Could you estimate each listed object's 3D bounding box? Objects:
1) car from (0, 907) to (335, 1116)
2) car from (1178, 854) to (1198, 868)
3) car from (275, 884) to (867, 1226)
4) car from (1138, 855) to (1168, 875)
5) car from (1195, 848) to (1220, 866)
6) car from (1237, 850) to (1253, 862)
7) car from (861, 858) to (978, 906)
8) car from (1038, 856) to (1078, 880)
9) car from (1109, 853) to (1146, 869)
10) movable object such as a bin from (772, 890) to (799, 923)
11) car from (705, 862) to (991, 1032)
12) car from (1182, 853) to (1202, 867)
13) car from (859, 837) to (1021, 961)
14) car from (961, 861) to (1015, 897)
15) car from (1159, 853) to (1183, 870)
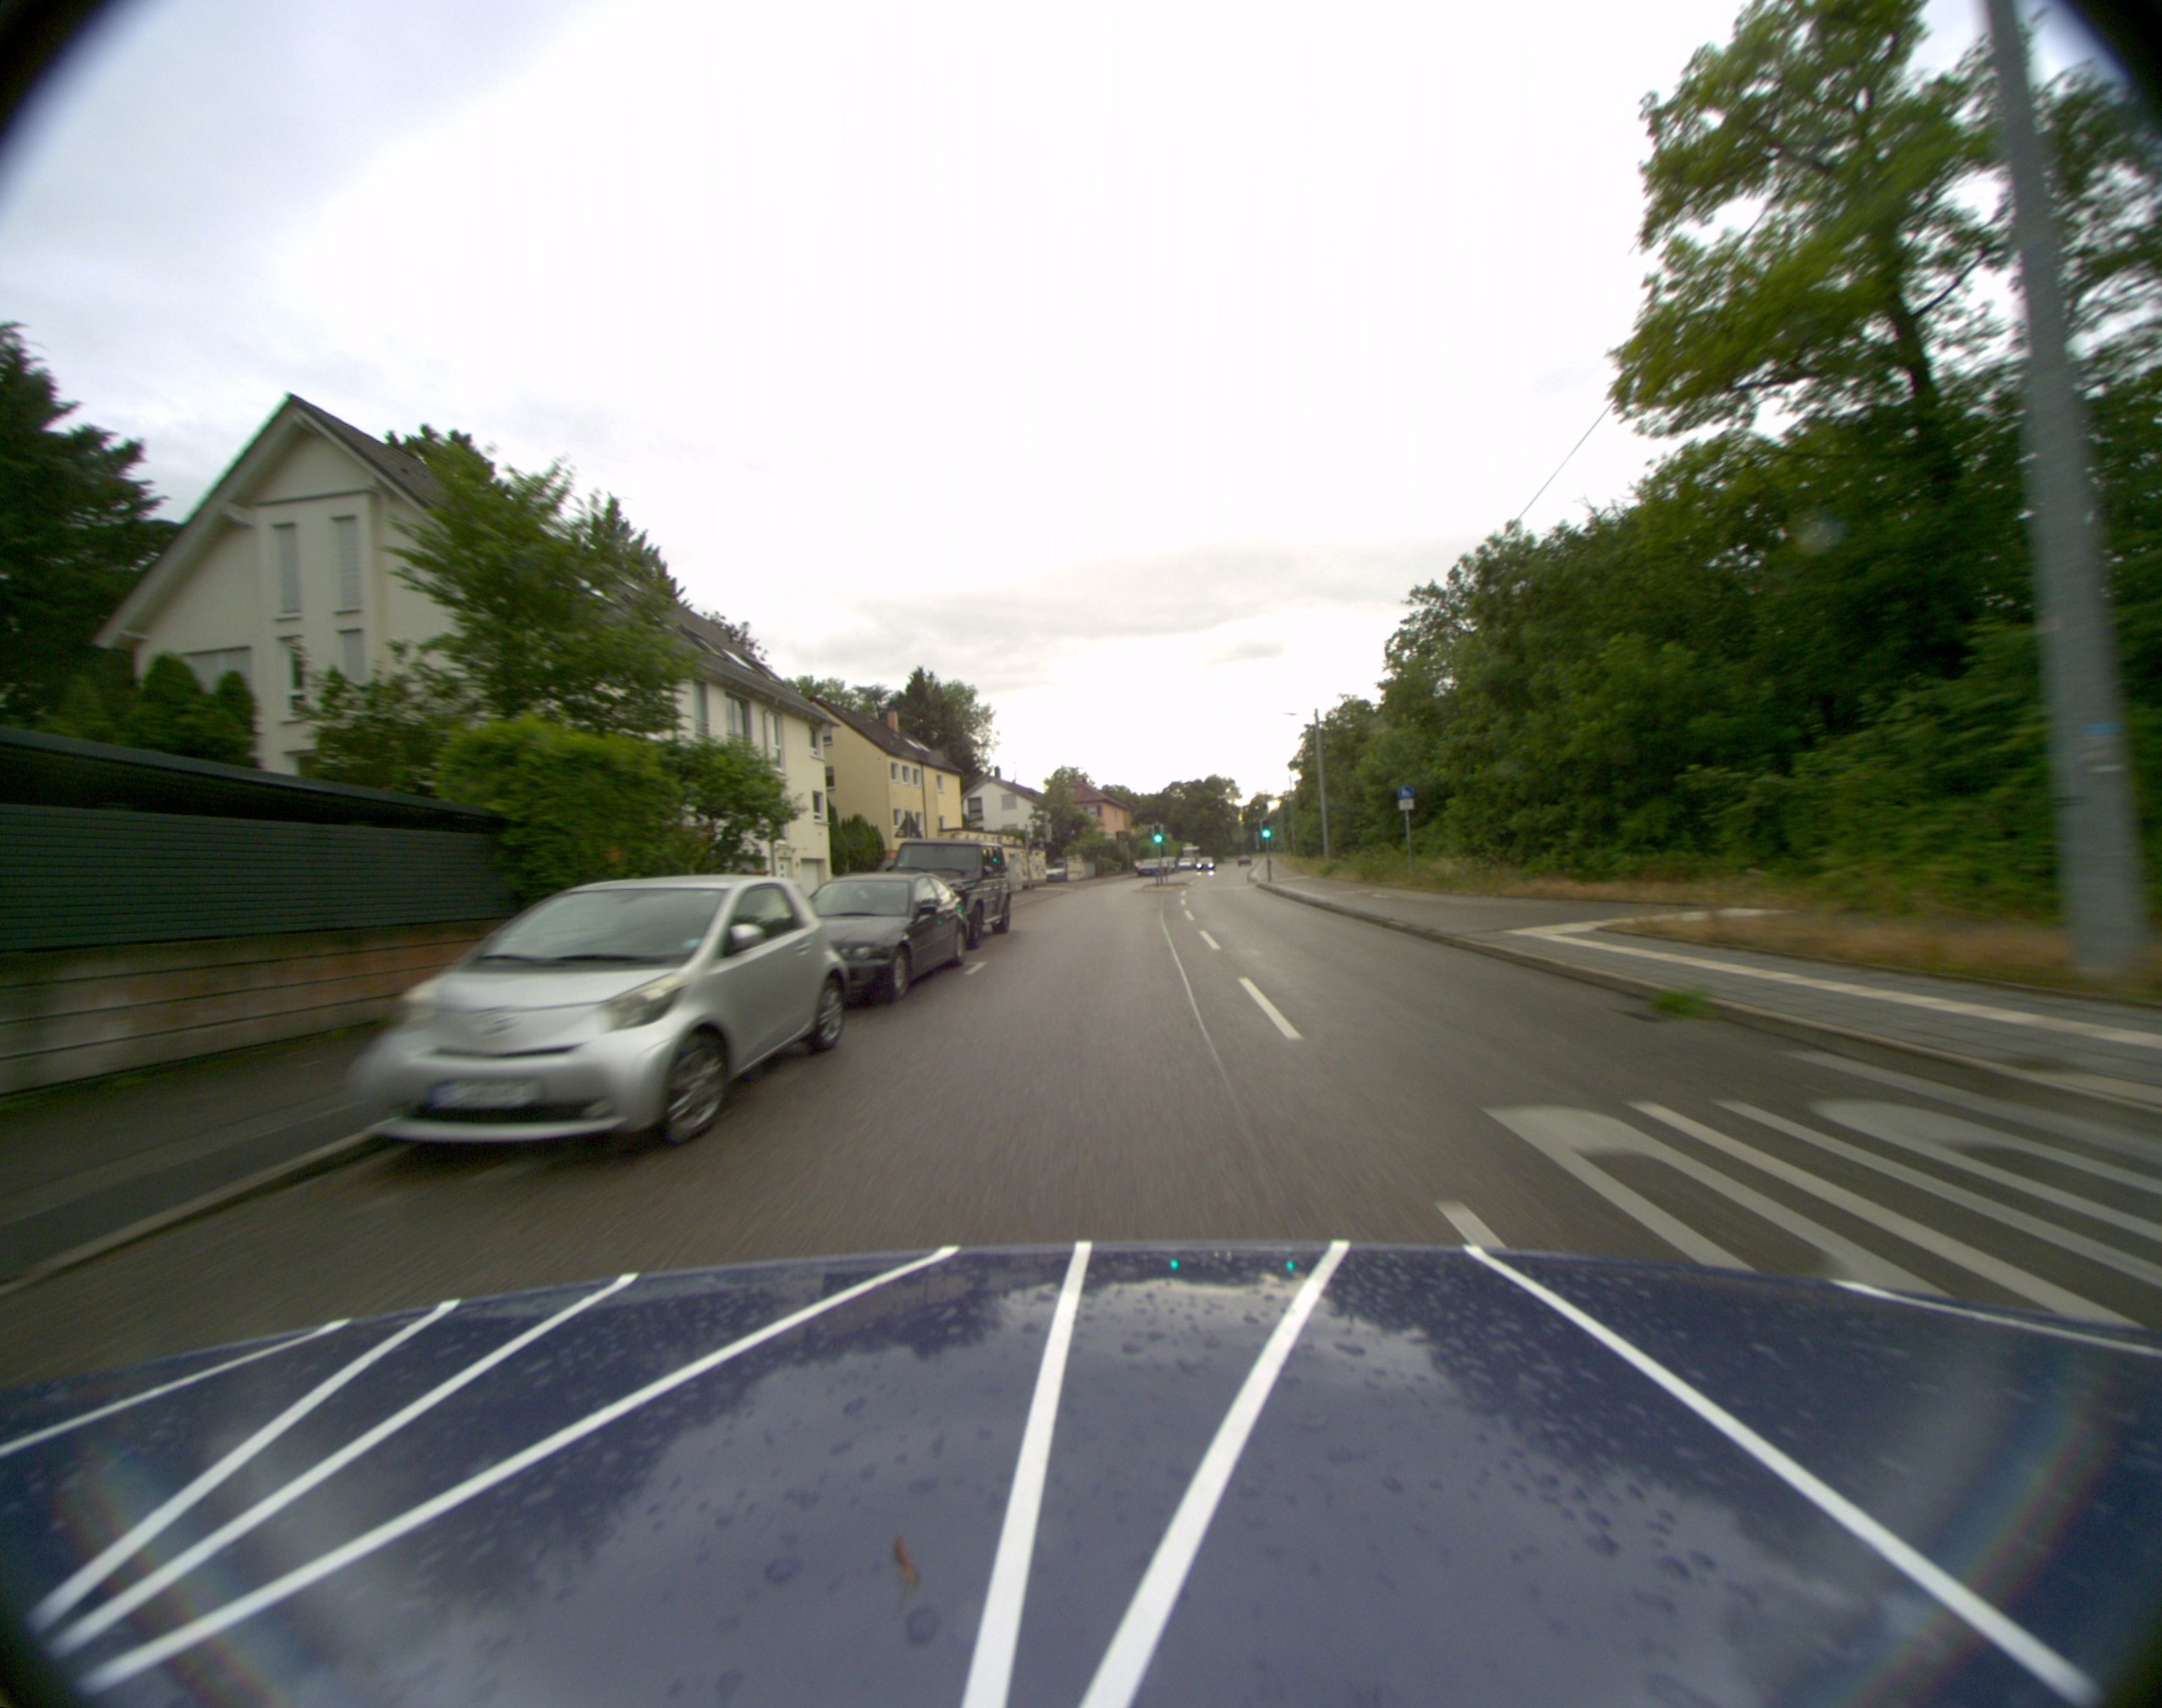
[{"bbox_3d":[-8.939,1.325,6.140,1.739,1.388,4.000,-5,0,1],"label":"car"},{"bbox_3d":[12.752,0.794,90.617,1.815,1.390,4.106,-3,1,15],"label":"car"},{"bbox_3d":[-2.904,1.029,5.291,1.677,1.449,3.386,-2,0,3],"label":"car"},{"bbox_3d":[6.127,0.875,63.985,1.754,1.435,4.605,-3,1,14],"label":"car"},{"bbox_3d":[12.993,0.297,77.955,1.996,1.714,4.004,-2,0,16],"label":"car"},{"bbox_3d":[21.927,0.193,101.589,1.746,1.451,4.418,-2,0,15],"label":"car"},{"bbox_3d":[-6.819,1.169,32.320,4.337,1.586,1.993,-6,0,6],"label":"car"},{"bbox_3d":[-1.747,1.086,59.464,1.935,1.587,4.346,-4,0,15],"label":"car"},{"bbox_3d":[5.063,0.752,82.374,3.663,1.557,1.884,-1,1,14],"label":"car"},{"bbox_3d":[-8.769,1.548,22.560,0.508,0.935,0.595,-2,0,4],"label":"movable object such as a bin"},{"bbox_3d":[-2.603,0.952,9.780,1.936,1.587,4.396,0,1,6],"label":"car"},{"bbox_3d":[14.009,0.735,95.368,1.832,1.538,4.634,-3,1,16],"label":"car"},{"bbox_3d":[-2.503,0.735,14.855,1.998,2.002,4.957,-1,0,3],"label":"car"},{"bbox_3d":[-5.018,1.328,41.620,1.936,1.586,4.343,-6,0,5],"label":"car"},{"bbox_3d":[8.898,0.743,75.115,1.733,1.558,4.527,-2,0,14],"label":"car"}]
